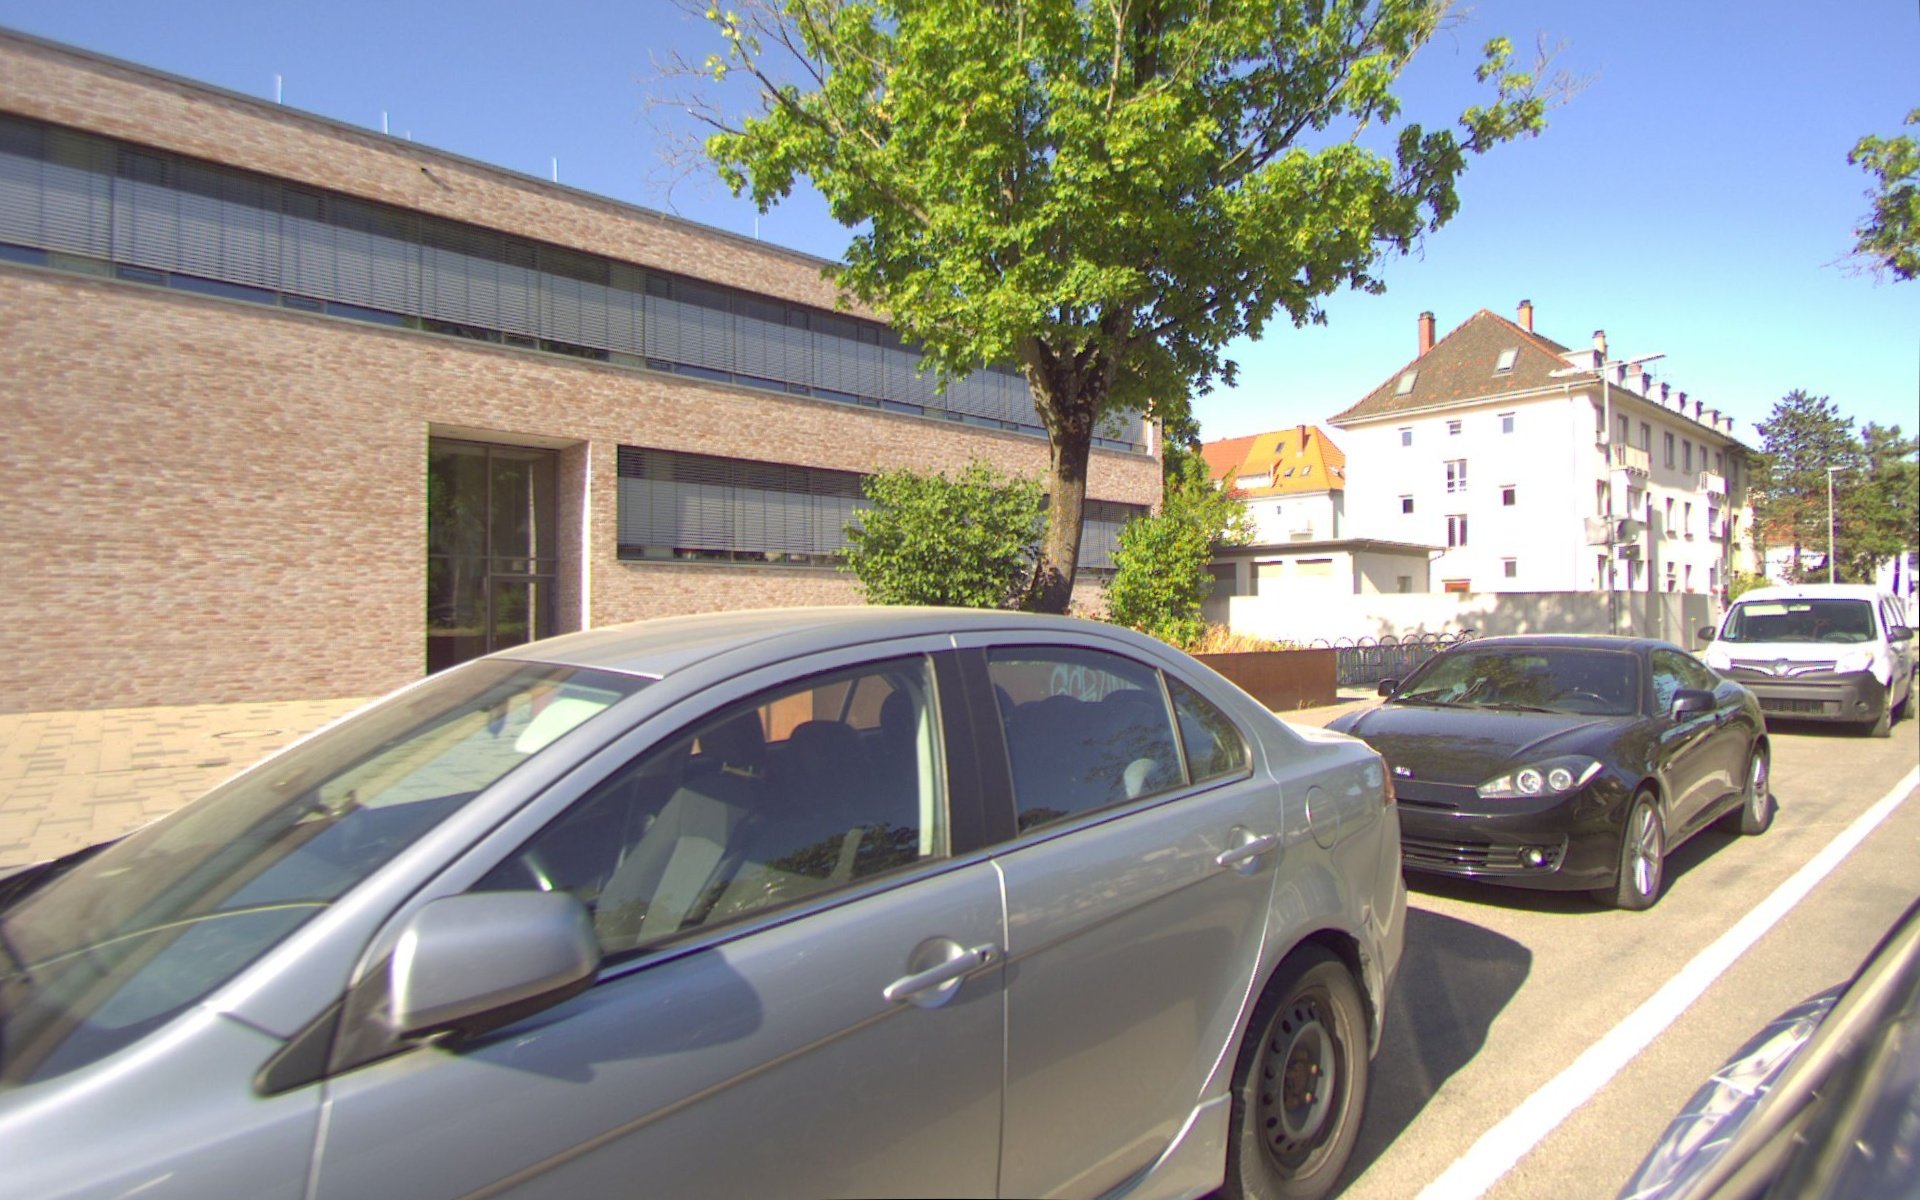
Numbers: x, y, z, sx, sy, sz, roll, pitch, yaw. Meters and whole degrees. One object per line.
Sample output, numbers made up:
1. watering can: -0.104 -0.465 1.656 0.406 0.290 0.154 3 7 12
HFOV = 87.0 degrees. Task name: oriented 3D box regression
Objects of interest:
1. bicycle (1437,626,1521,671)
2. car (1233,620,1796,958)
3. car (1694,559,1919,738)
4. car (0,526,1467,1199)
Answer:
1. bicycle: 12.271 1.147 23.960 0.491 1.043 1.670 1 -3 -42
2. car: 3.562 0.824 6.162 4.057 1.342 1.704 0 -2 -41
3. car: 11.169 0.554 13.100 4.385 1.933 1.810 0 -2 -42
4. car: -0.652 0.702 2.239 4.100 1.497 1.704 0 -2 -41
